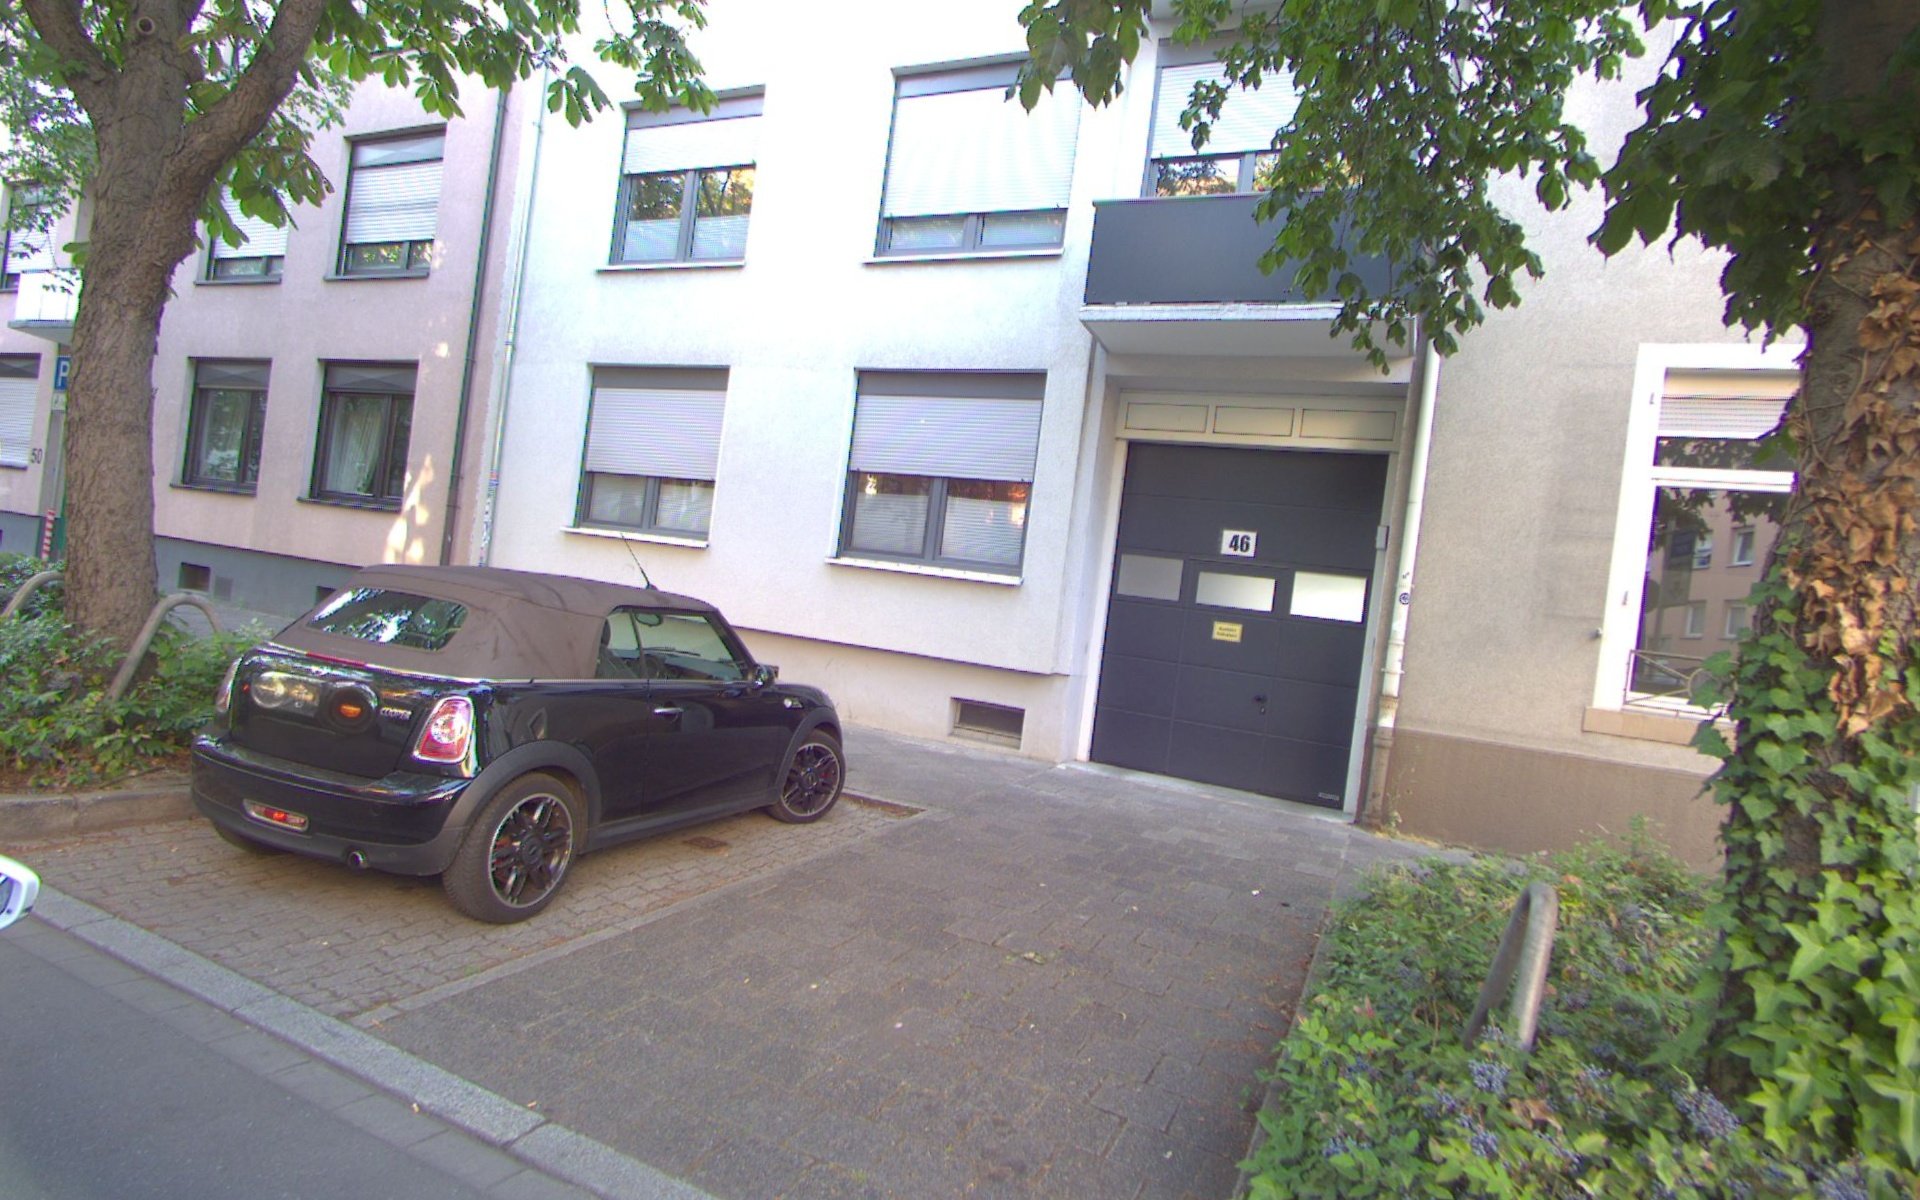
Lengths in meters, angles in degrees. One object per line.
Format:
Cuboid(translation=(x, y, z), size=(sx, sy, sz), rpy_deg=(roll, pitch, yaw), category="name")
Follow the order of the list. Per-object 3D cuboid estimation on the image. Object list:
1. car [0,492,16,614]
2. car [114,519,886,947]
Cuboid(translation=(-13.337, -0.793, 11.047), size=(1.634, 1.494, 3.921), rpy_deg=(7, -1, 24), category="car")
Cuboid(translation=(-2.008, 0.559, 5.531), size=(1.634, 1.380, 3.622), rpy_deg=(7, -1, 22), category="car")
